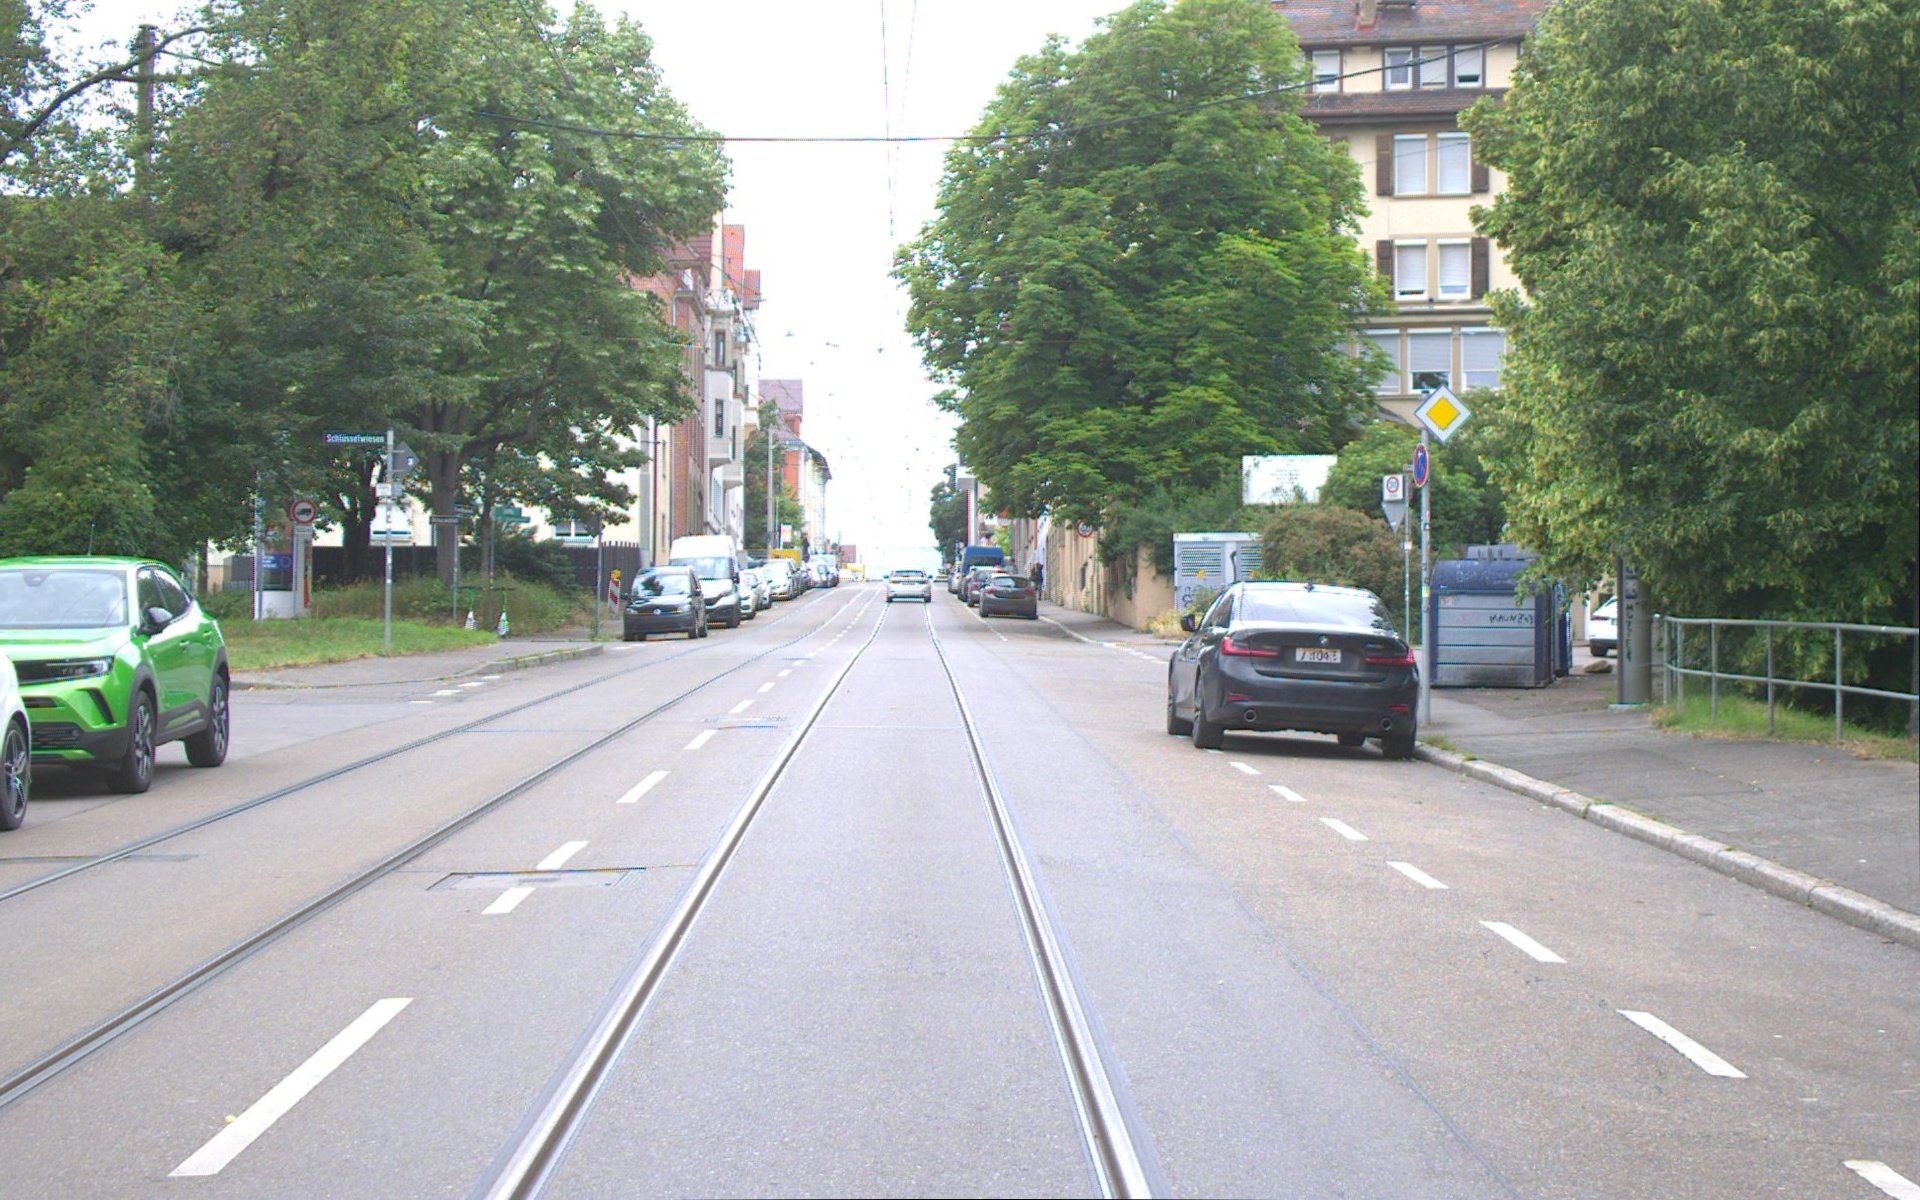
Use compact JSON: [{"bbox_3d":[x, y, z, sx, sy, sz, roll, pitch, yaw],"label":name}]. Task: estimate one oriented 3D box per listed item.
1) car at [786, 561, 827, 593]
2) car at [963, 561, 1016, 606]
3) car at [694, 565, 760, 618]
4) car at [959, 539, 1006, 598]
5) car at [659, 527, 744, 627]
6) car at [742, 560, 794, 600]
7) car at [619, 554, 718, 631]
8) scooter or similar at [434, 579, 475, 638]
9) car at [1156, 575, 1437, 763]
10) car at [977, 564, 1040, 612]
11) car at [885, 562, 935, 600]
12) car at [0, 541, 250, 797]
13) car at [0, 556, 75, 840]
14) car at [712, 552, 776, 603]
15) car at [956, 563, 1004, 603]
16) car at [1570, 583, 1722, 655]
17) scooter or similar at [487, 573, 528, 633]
[{"bbox_3d":[-8.112,-1.205,181.822,1.993,1.596,4.000,1,0,-1],"label":"car"},{"bbox_3d":[1.145,-0.626,134.049,1.993,1.711,4.000,0,0,0],"label":"car"},{"bbox_3d":[-7.352,-0.259,108.776,1.993,1.595,4.312,1,0,-3],"label":"car"},{"bbox_3d":[0.968,-1.378,151.719,1.993,2.565,4.705,0,0,0],"label":"car"},{"bbox_3d":[-7.361,-0.632,98.459,2.230,2.755,5.800,1,0,-3],"label":"car"},{"bbox_3d":[-7.917,-0.803,142.294,1.924,1.596,4.000,1,0,0],"label":"car"},{"bbox_3d":[-7.086,-0.178,83.969,1.993,1.802,4.000,1,0,1],"label":"car"},{"bbox_3d":[-11.642,0.189,79.219,0.691,1.334,1.639,1,0,-1],"label":"scooter or similar"},{"bbox_3d":[2.838,0.544,30.001,1.828,1.425,4.848,3,0,-1],"label":"car"},{"bbox_3d":[1.581,-0.373,113.057,1.993,1.525,4.312,1,0,0],"label":"car"},{"bbox_3d":[-2.079,-0.789,142.067,1.993,1.493,4.312,1,0,-1],"label":"car"},{"bbox_3d":[-6.092,0.407,23.274,1.723,1.574,4.181,0,1,-1],"label":"car"},{"bbox_3d":[-6.077,0.540,17.713,1.885,1.521,4.663,-1,0,-1],"label":"car"},{"bbox_3d":[-7.834,-0.802,125.189,1.993,1.806,4.312,1,0,1],"label":"car"},{"bbox_3d":[0.820,-0.707,146.214,1.993,1.645,4.000,0,0,0],"label":"car"},{"bbox_3d":[14.838,0.423,74.237,1.997,1.474,4.457,1,0,28],"label":"car"},{"bbox_3d":[-10.390,0.070,78.917,0.691,1.334,1.639,1,0,0],"label":"scooter or similar"}]
